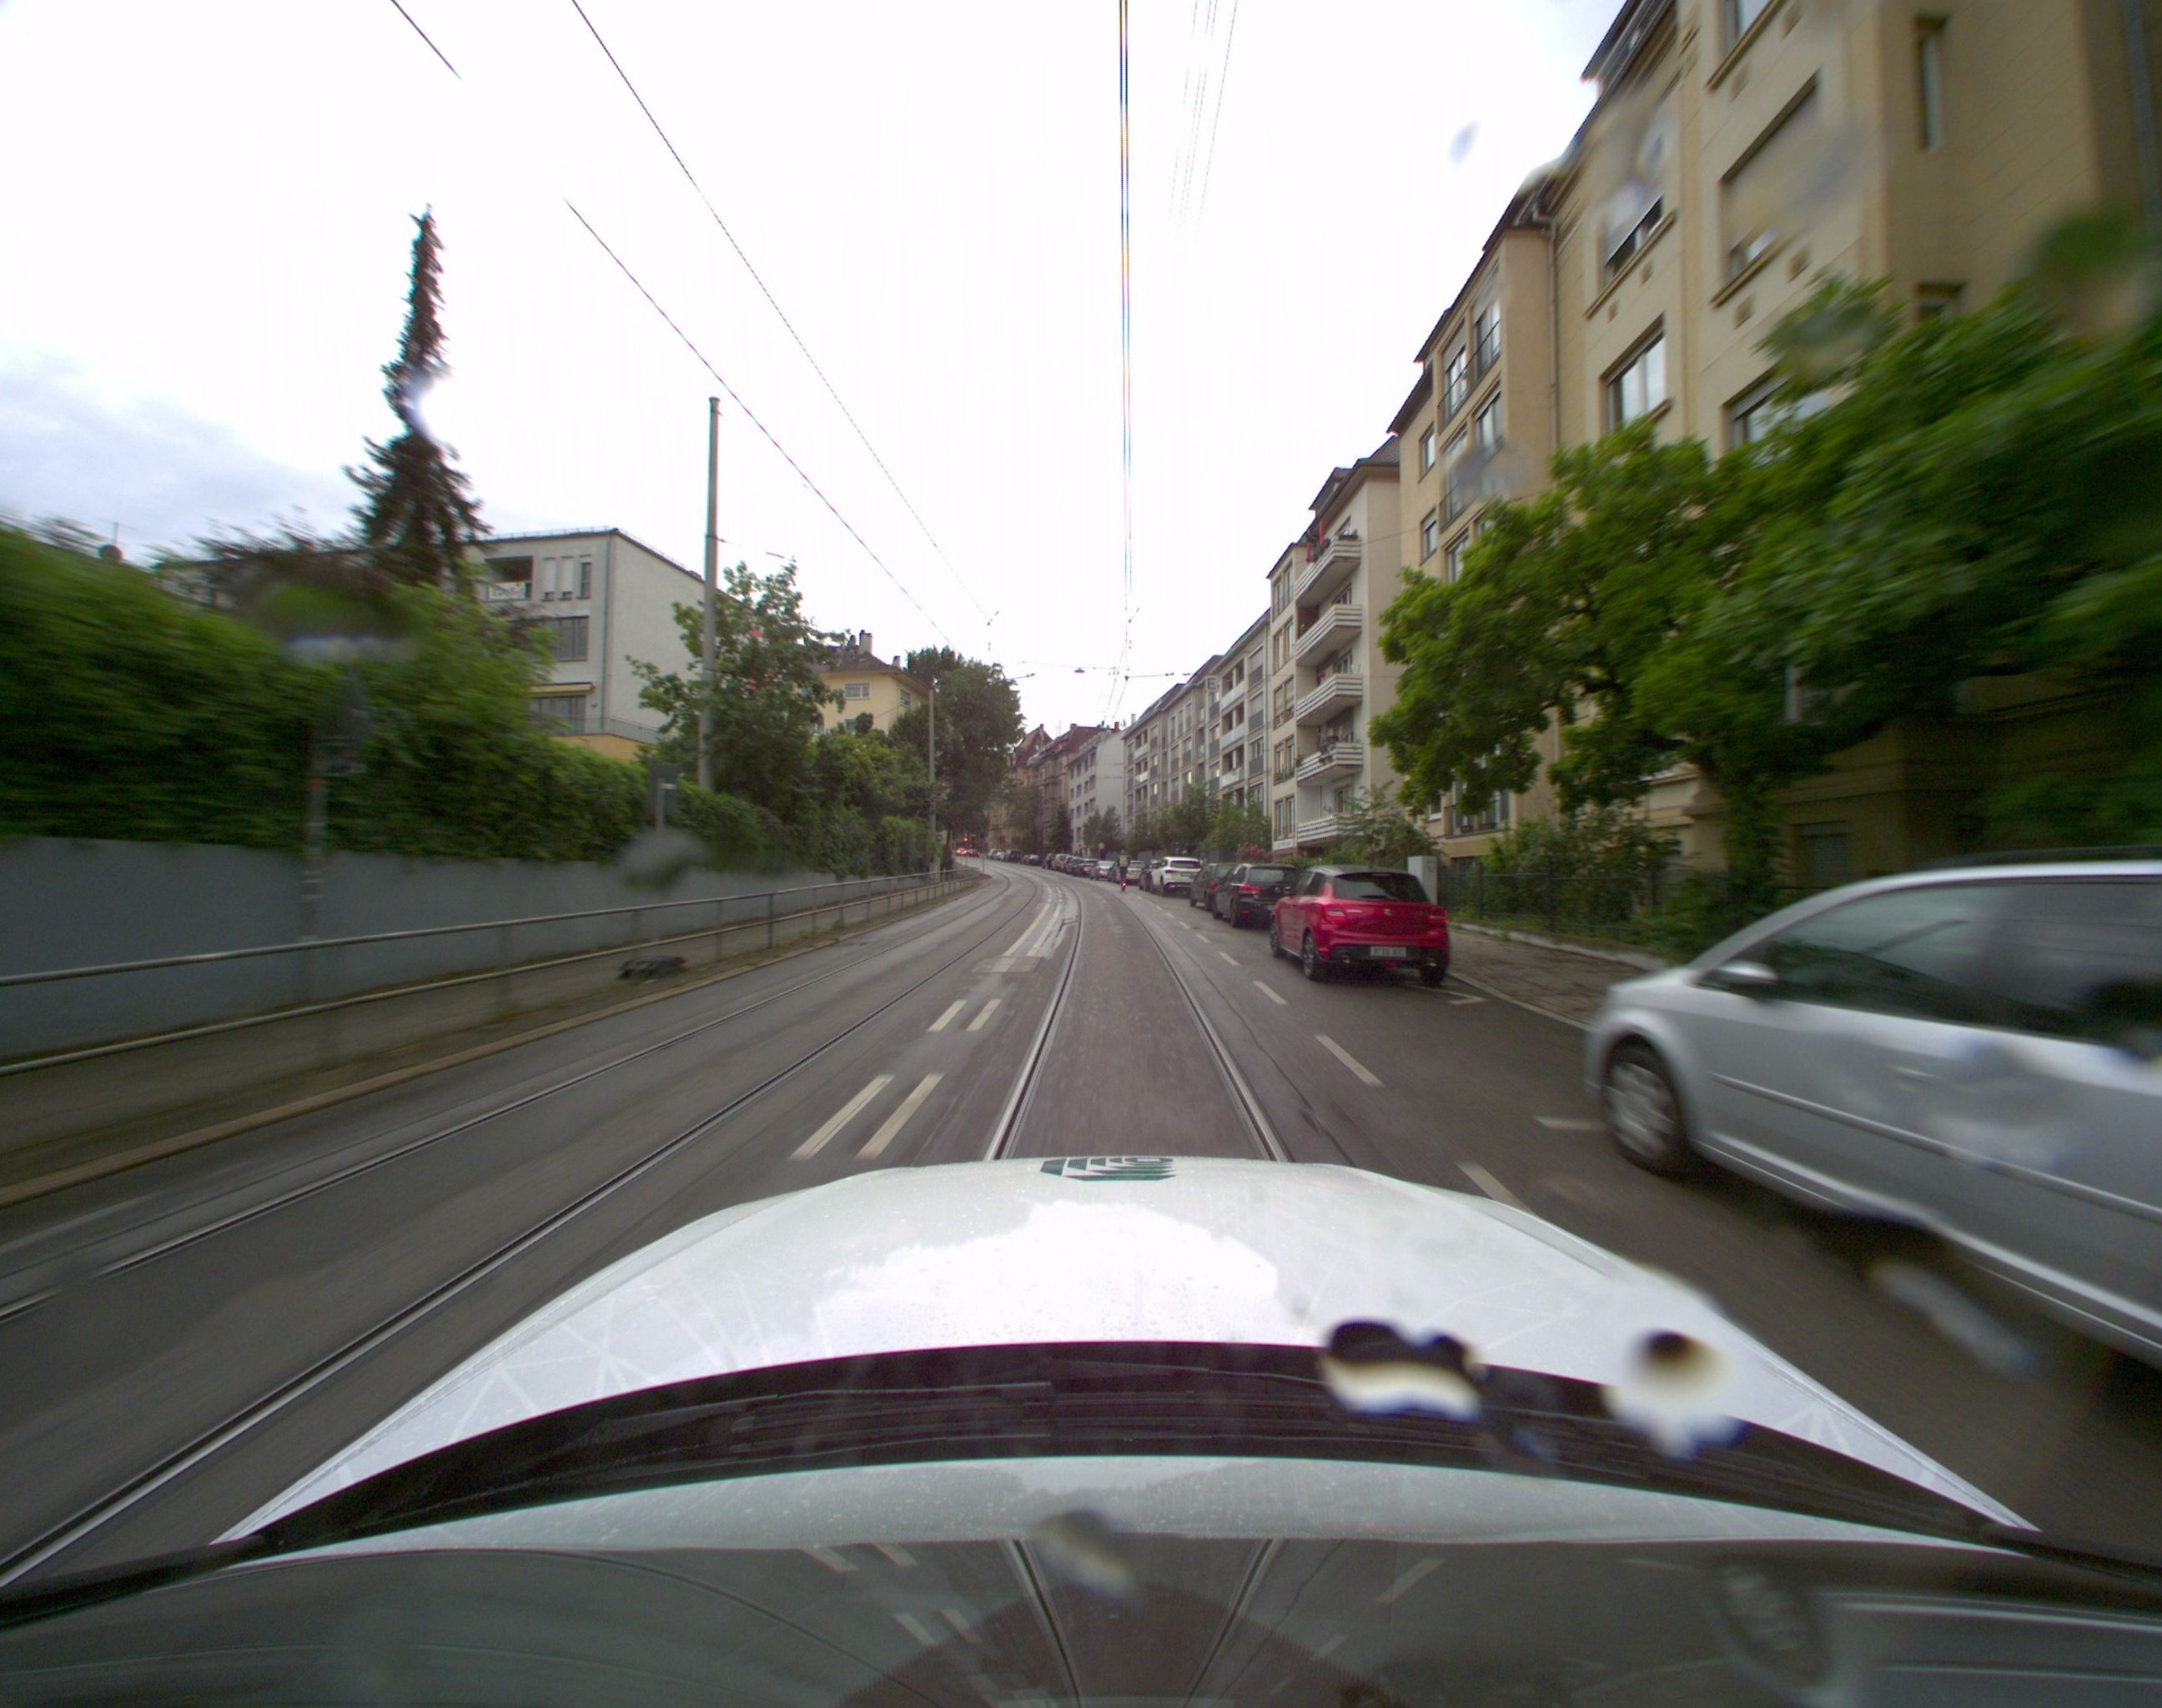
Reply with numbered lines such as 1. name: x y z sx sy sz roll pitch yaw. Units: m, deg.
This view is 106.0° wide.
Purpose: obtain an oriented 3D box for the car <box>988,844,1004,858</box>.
1. car: -14.335 -0.486 136.976 2.032 2.218 4.118 1 0 -15

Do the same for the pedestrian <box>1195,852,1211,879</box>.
1. pedestrian: 6.940 0.645 46.165 0.569 1.542 0.926 -2 0 -11

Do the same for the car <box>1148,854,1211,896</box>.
1. car: 4.054 0.824 34.129 1.833 1.573 4.242 2 0 -4

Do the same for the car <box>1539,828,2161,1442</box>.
1. car: 3.695 0.719 2.874 1.760 1.603 4.288 -1 0 0

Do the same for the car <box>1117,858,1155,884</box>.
1. car: 3.350 1.021 50.103 1.658 1.471 4.500 1 -1 -5

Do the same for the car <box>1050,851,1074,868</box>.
1. car: -2.084 0.565 89.284 1.768 1.684 4.229 1 0 -13

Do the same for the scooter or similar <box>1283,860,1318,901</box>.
1. scooter or similar: 6.953 0.830 25.849 0.469 1.234 1.193 -3 1 -16

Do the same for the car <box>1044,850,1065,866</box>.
1. car: -3.063 0.474 93.861 1.768 1.684 4.231 1 0 -12

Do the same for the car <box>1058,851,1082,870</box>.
1. car: -1.130 0.658 83.226 1.767 1.787 4.233 1 0 -10

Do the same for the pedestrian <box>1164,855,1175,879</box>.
1. pedestrian: 5.948 0.860 54.864 0.568 1.542 0.650 -2 0 -2

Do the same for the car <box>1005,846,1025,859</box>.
1. car: -9.841 -0.226 121.147 2.032 1.824 4.344 1 0 -16

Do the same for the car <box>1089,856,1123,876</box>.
1. car: 1.860 0.912 61.924 1.761 1.435 4.625 0 0 -9

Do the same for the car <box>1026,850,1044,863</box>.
1. car: -6.054 0.307 107.317 1.768 1.518 4.123 1 0 -12

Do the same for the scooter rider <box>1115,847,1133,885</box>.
1. scooter rider: 1.971 0.561 37.524 0.622 1.705 0.842 3 0 -7

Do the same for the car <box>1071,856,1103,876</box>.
1. car: 0.522 1.040 71.702 1.769 1.615 4.227 0 0 -15

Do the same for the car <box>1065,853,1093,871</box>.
1. car: -0.195 0.750 77.719 1.768 1.615 4.230 1 0 -12

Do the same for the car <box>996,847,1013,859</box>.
1. car: -12.440 -0.221 132.185 2.030 1.824 4.121 1 0 -13

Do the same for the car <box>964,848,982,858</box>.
1. car: -20.024 -0.166 150.405 2.038 1.734 4.104 1 0 -26

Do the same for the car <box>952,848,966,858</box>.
1. car: -23.317 -0.159 155.707 1.862 1.734 4.113 1 0 -19

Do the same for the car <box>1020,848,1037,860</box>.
1. car: -7.199 -0.013 112.221 1.652 1.536 3.871 -3 1 -14

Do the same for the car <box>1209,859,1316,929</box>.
1. car: 4.221 0.872 19.562 1.678 1.437 4.064 1 0 0

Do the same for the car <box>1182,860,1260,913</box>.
1. car: 4.277 0.938 25.452 1.552 1.437 4.300 1 0 -2

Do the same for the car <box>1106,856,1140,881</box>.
1. car: 2.803 0.935 54.781 1.700 1.512 3.706 1 0 -7

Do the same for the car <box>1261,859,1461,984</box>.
1. car: 3.795 0.827 11.725 1.715 1.437 3.844 1 0 3

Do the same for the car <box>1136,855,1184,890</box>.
1. car: 3.748 0.843 39.305 1.697 1.512 4.567 3 0 -2

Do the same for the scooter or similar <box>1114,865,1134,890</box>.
1. scooter or similar: 1.973 1.063 37.620 0.513 1.049 2.004 2 0 -7
